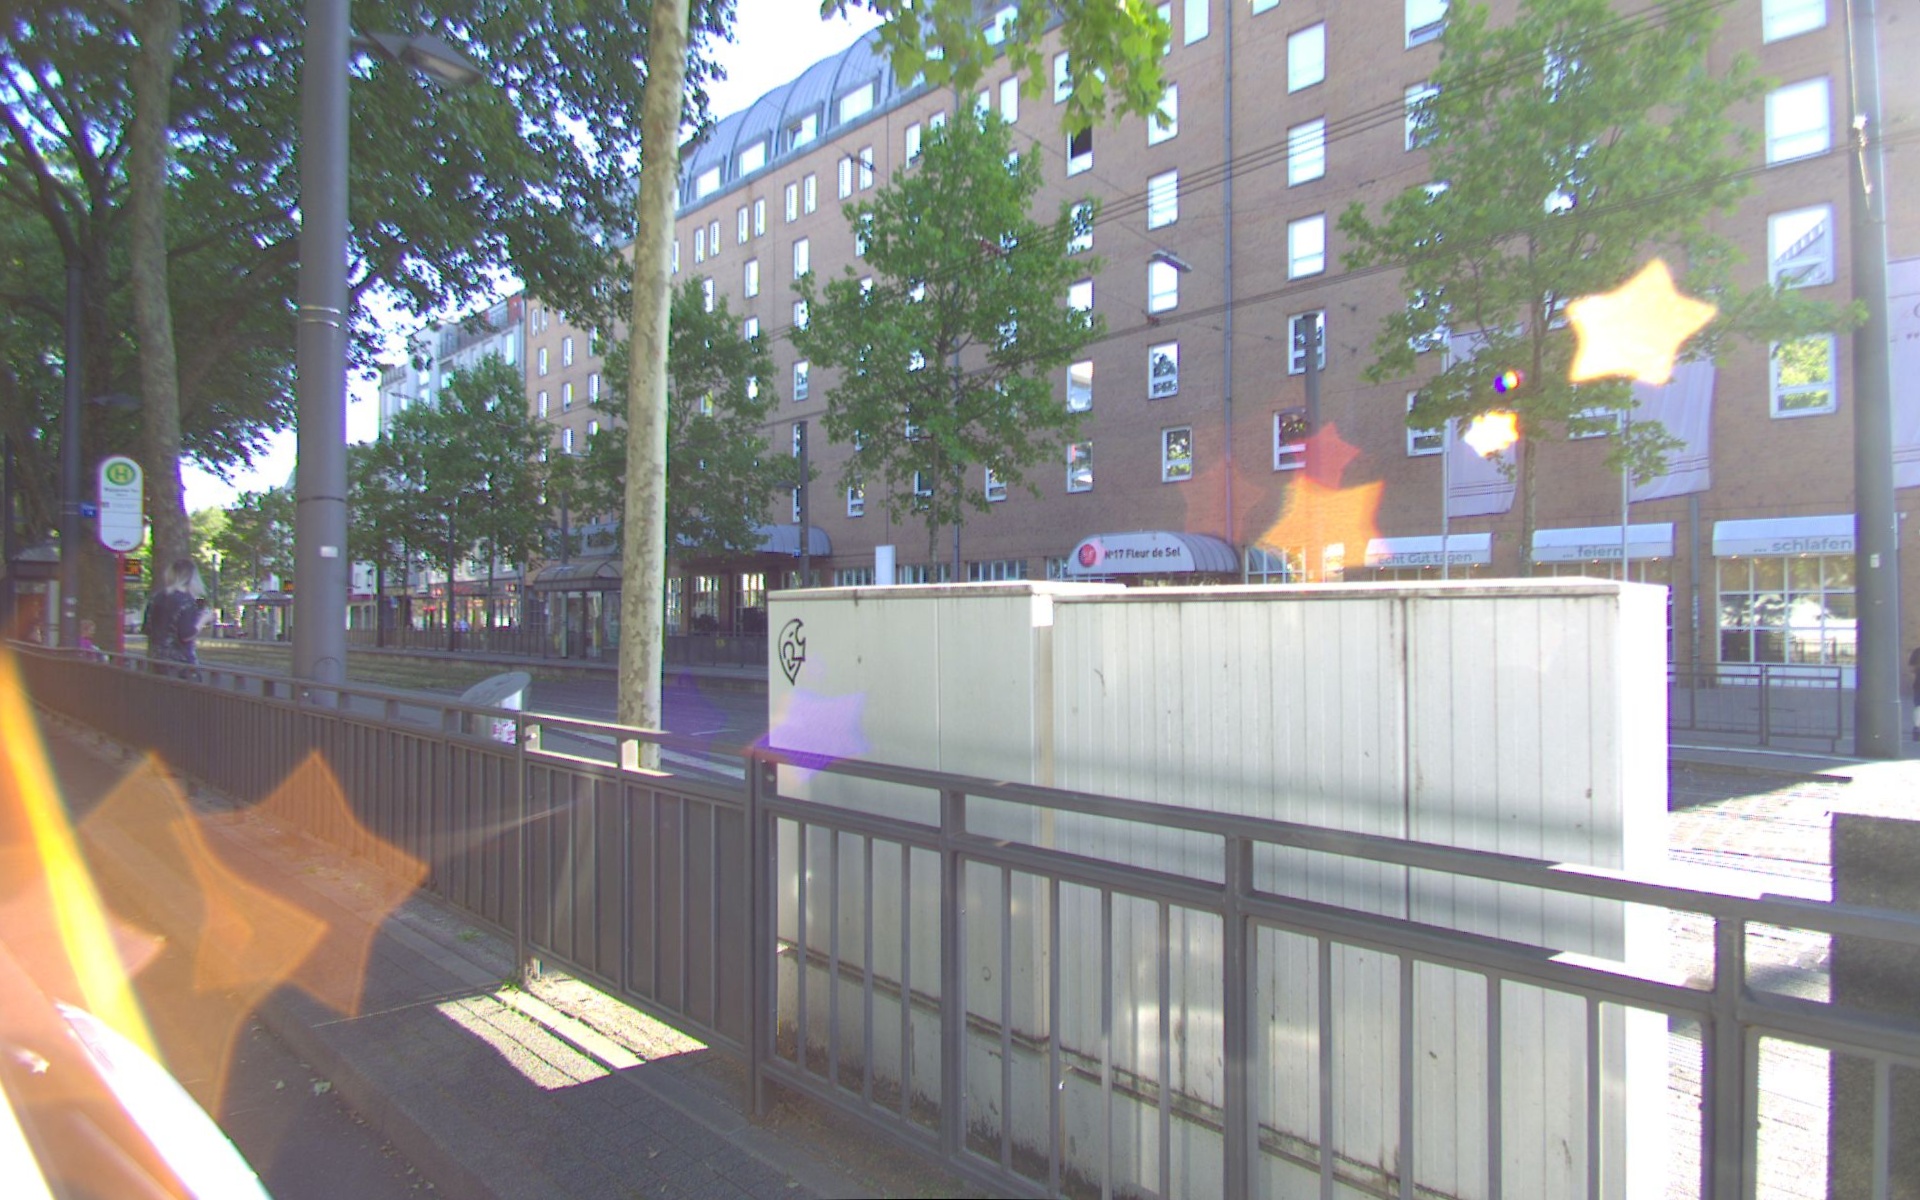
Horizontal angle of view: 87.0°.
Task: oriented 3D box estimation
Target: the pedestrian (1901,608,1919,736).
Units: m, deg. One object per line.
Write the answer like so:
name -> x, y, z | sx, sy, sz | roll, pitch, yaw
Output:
pedestrian -> 14.309, 1.029, 14.597 | 0.956, 1.812, 0.980 | -1, 0, 38

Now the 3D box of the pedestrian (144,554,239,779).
pedestrian -> -6.595, 0.548, 8.692 | 0.524, 1.848, 0.536 | -1, 0, 41

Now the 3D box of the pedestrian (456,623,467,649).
pedestrian -> -33.610, 2.405, 68.201 | 0.574, 1.748, 0.497 | -2, -2, 43

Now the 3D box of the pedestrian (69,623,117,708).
pedestrian -> -13.948, 1.037, 16.289 | 0.534, 1.327, 0.525 | -1, 0, -37
